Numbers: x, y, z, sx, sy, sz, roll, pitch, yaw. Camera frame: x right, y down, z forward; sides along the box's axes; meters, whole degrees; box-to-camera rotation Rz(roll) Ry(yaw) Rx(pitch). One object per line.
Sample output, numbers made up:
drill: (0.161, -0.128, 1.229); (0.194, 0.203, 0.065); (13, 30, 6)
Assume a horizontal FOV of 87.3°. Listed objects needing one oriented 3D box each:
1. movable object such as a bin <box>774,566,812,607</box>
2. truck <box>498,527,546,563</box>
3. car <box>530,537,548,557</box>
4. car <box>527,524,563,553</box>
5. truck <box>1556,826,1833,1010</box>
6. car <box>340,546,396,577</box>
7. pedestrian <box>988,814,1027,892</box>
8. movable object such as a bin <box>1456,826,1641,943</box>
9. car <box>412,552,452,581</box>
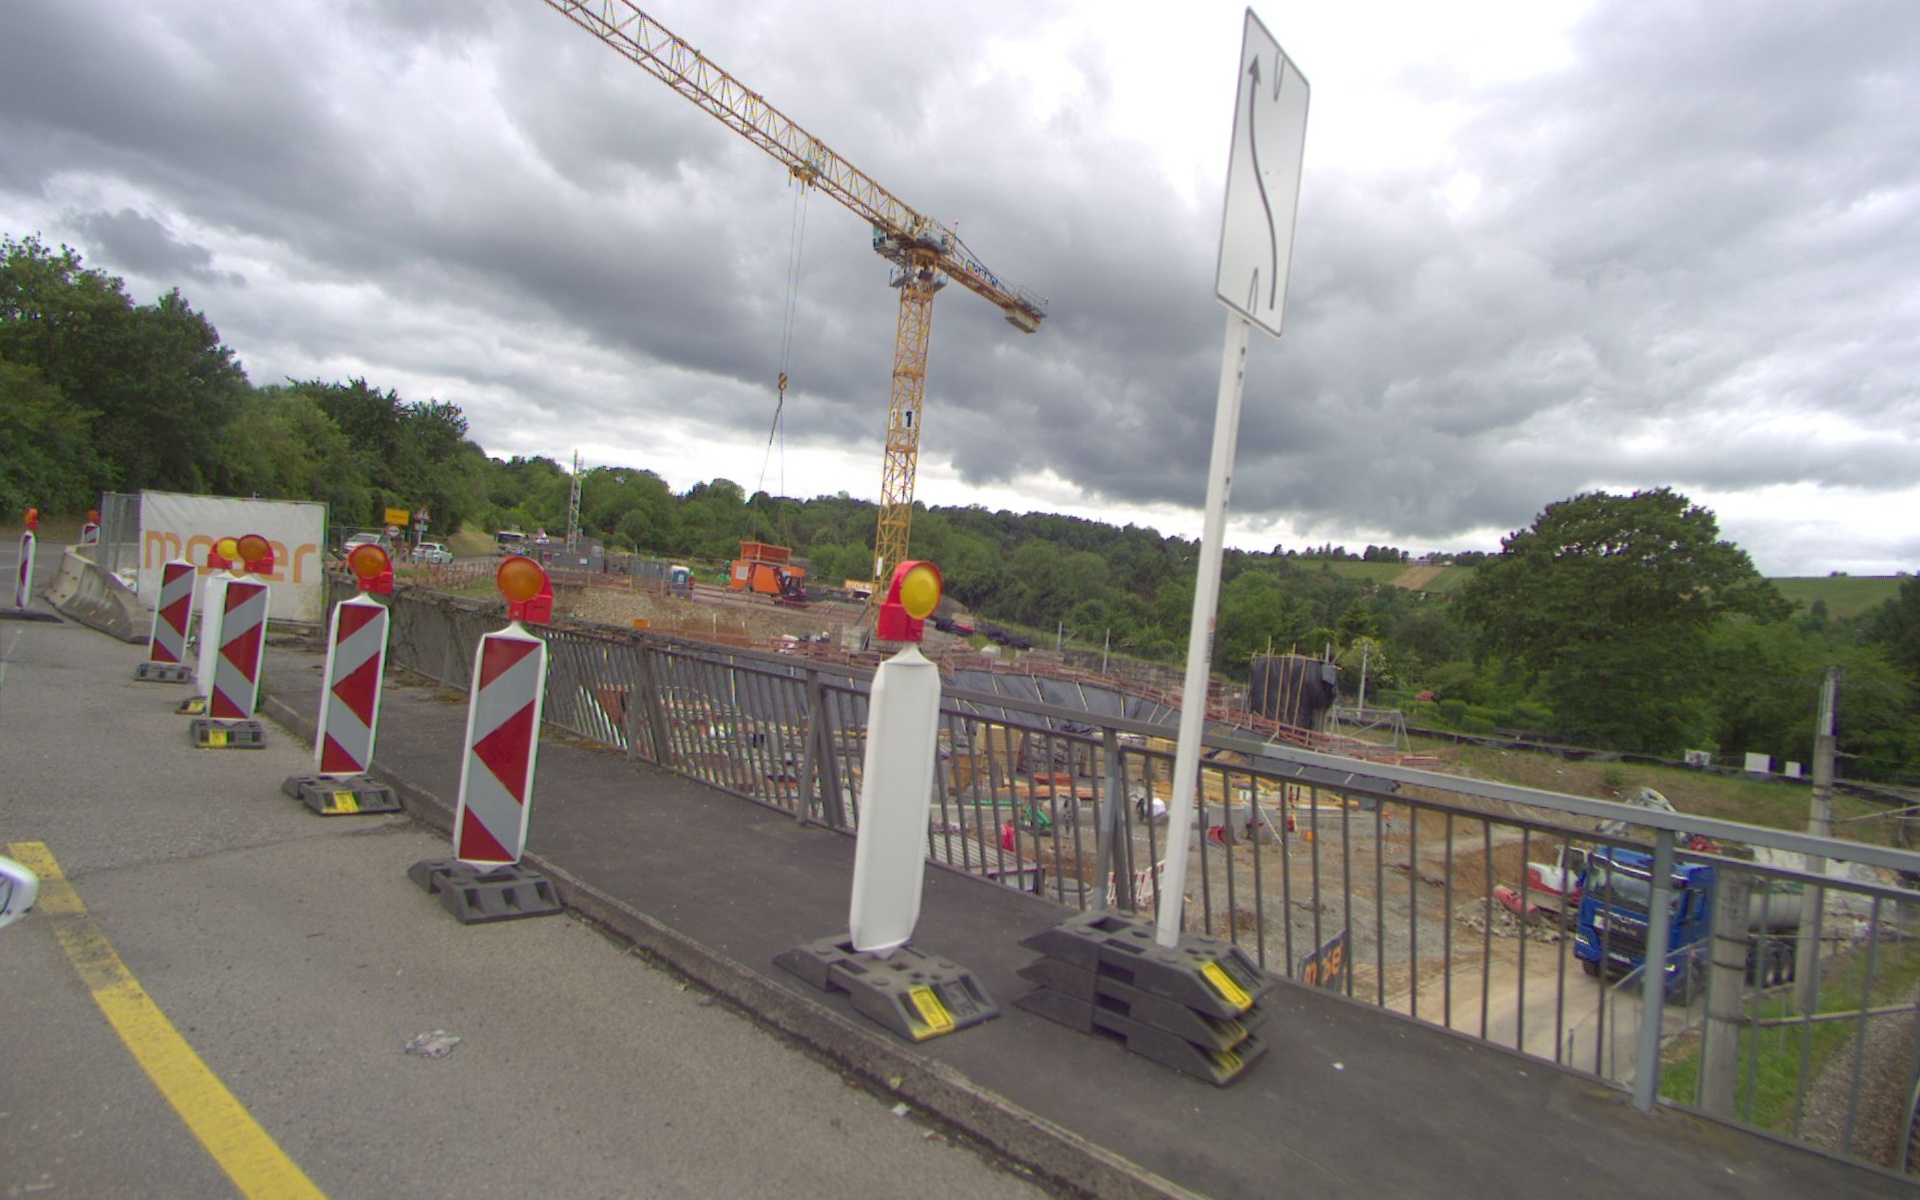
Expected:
movable object such as a bin: (-13.968, -1.136, 84.002); (2.755, 3.116, 1.836); (5, 0, -14)
truck: (-45.814, -5.698, 105.429); (2.782, 3.379, 8.356); (5, 1, -13)
car: (-59.556, -7.518, 142.450); (1.975, 2.031, 3.989); (12, -7, -20)
car: (-35.938, -5.292, 87.297); (1.966, 2.039, 3.993); (5, -1, -11)
truck: (21.920, 8.949, 29.603); (11.518, 3.938, 2.821); (9, -2, -35)
car: (-37.467, -2.419, 63.819); (1.635, 1.570, 4.179); (8, -1, -12)
pedestrian: (1.353, 7.231, 28.847); (0.696, 2.037, 0.797); (4, -3, -33)
movable object such as a bin: (19.454, 9.393, 33.371); (4.226, 2.781, 3.037); (9, -1, -18)
car: (-34.156, -2.128, 65.130); (1.692, 1.696, 3.983); (5, -1, -20)
